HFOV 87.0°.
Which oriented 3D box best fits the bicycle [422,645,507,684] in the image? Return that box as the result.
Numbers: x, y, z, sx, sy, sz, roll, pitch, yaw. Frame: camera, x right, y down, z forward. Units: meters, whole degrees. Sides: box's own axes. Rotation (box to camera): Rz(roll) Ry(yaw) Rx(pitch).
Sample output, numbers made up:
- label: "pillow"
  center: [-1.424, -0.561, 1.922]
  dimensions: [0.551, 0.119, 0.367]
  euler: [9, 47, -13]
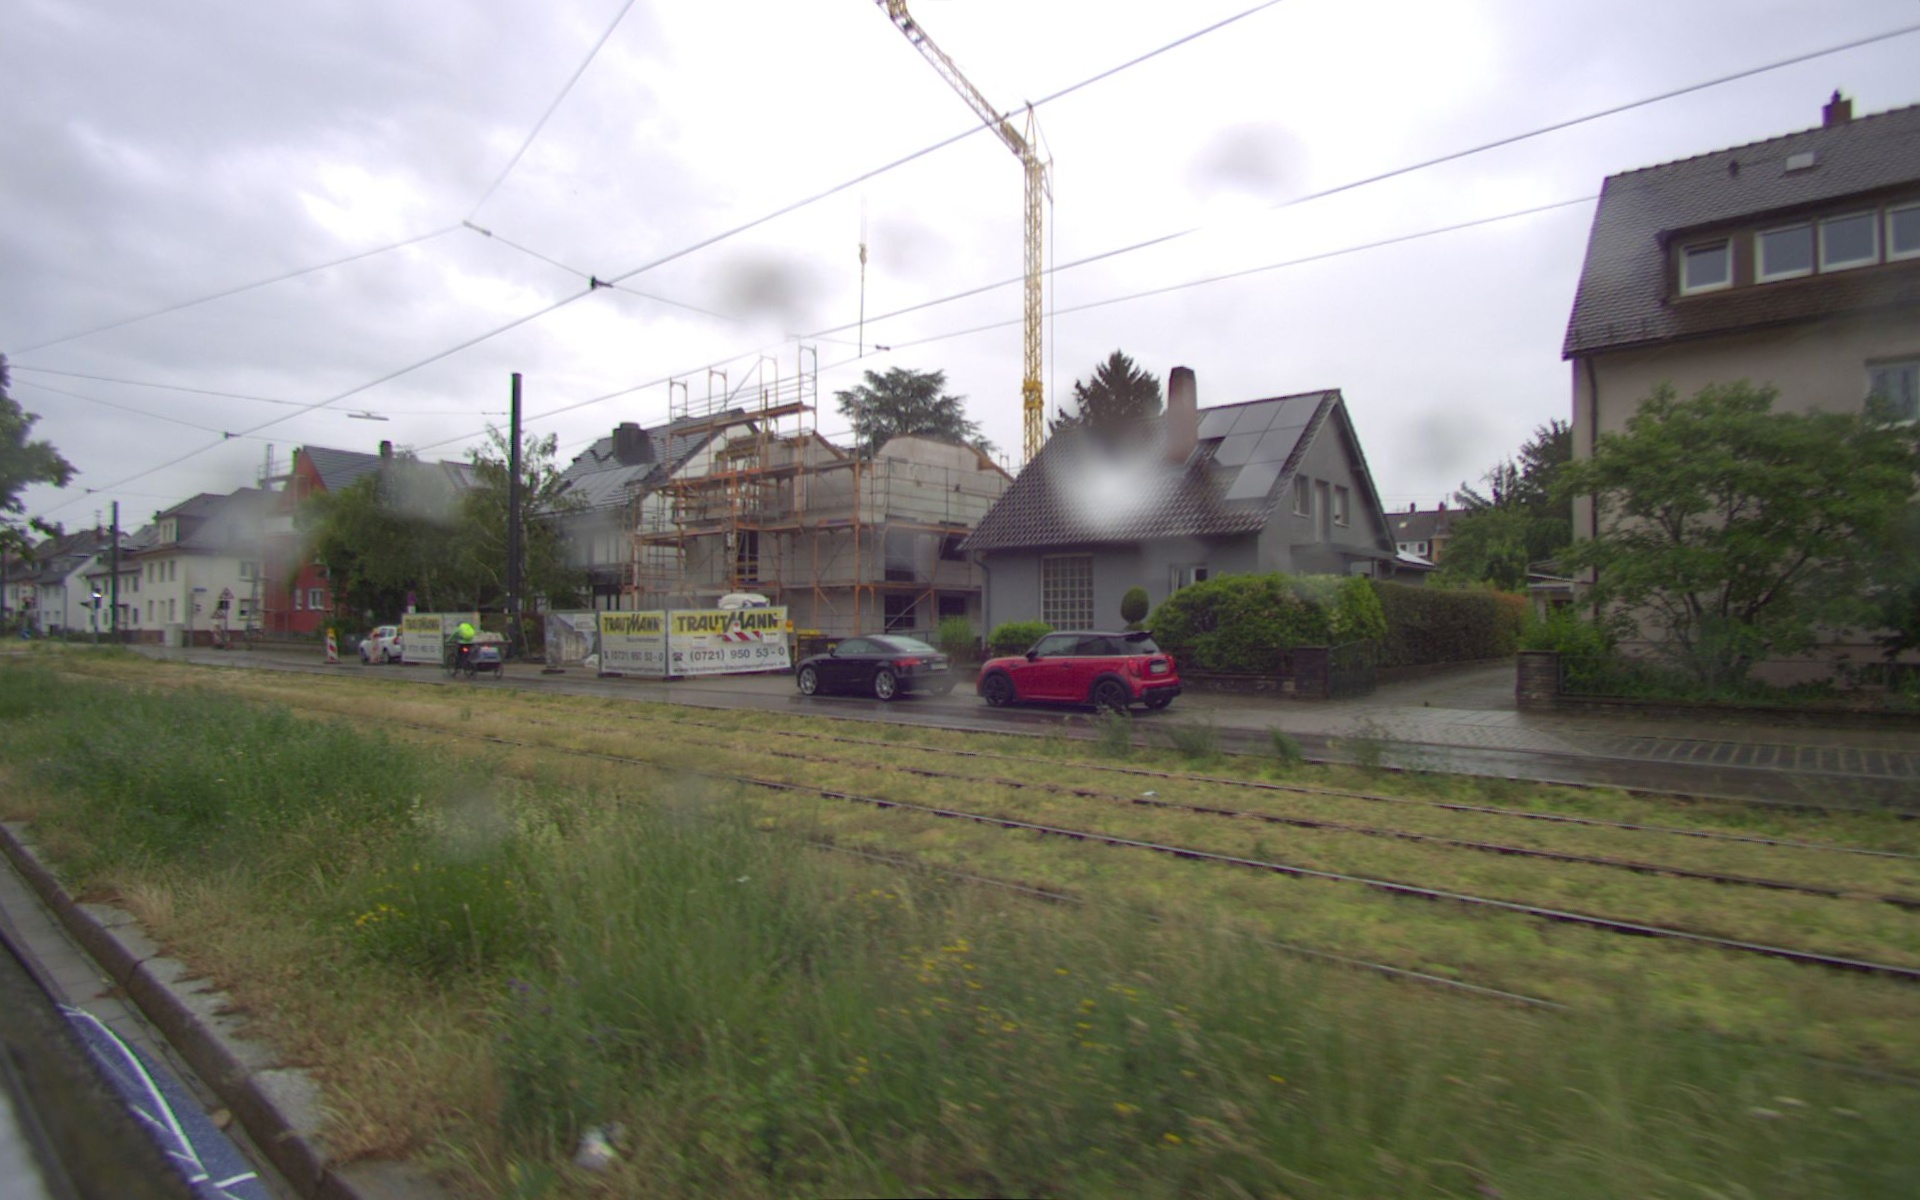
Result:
- label: "bicycle"
  center: [-14.608, 1.871, 29.780]
  dimensions: [3.431, 1.051, 0.925]
  euler: [-1, -2, 40]

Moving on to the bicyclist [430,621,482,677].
- label: "bicyclist"
  center: [-15.009, 1.426, 30.127]
  dimensions: [1.399, 1.596, 0.943]
  euler: [-1, -1, 41]

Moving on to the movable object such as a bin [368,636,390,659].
- label: "movable object such as a bin"
  center: [-31.107, 2.531, 54.156]
  dimensions: [0.821, 1.156, 0.802]
  euler: [-1, -1, 41]

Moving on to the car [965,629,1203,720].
- label: "car"
  center: [2.189, 1.262, 18.326]
  dimensions: [3.841, 1.383, 1.973]
  euler: [0, 0, 40]

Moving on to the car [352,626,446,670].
- label: "car"
  center: [-23.155, 1.920, 41.710]
  dimensions: [4.246, 1.640, 1.974]
  euler: [0, 0, 39]

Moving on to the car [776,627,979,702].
- label: "car"
  center: [-1.841, 1.360, 21.798]
  dimensions: [4.171, 1.420, 1.973]
  euler: [-3, -2, 40]
